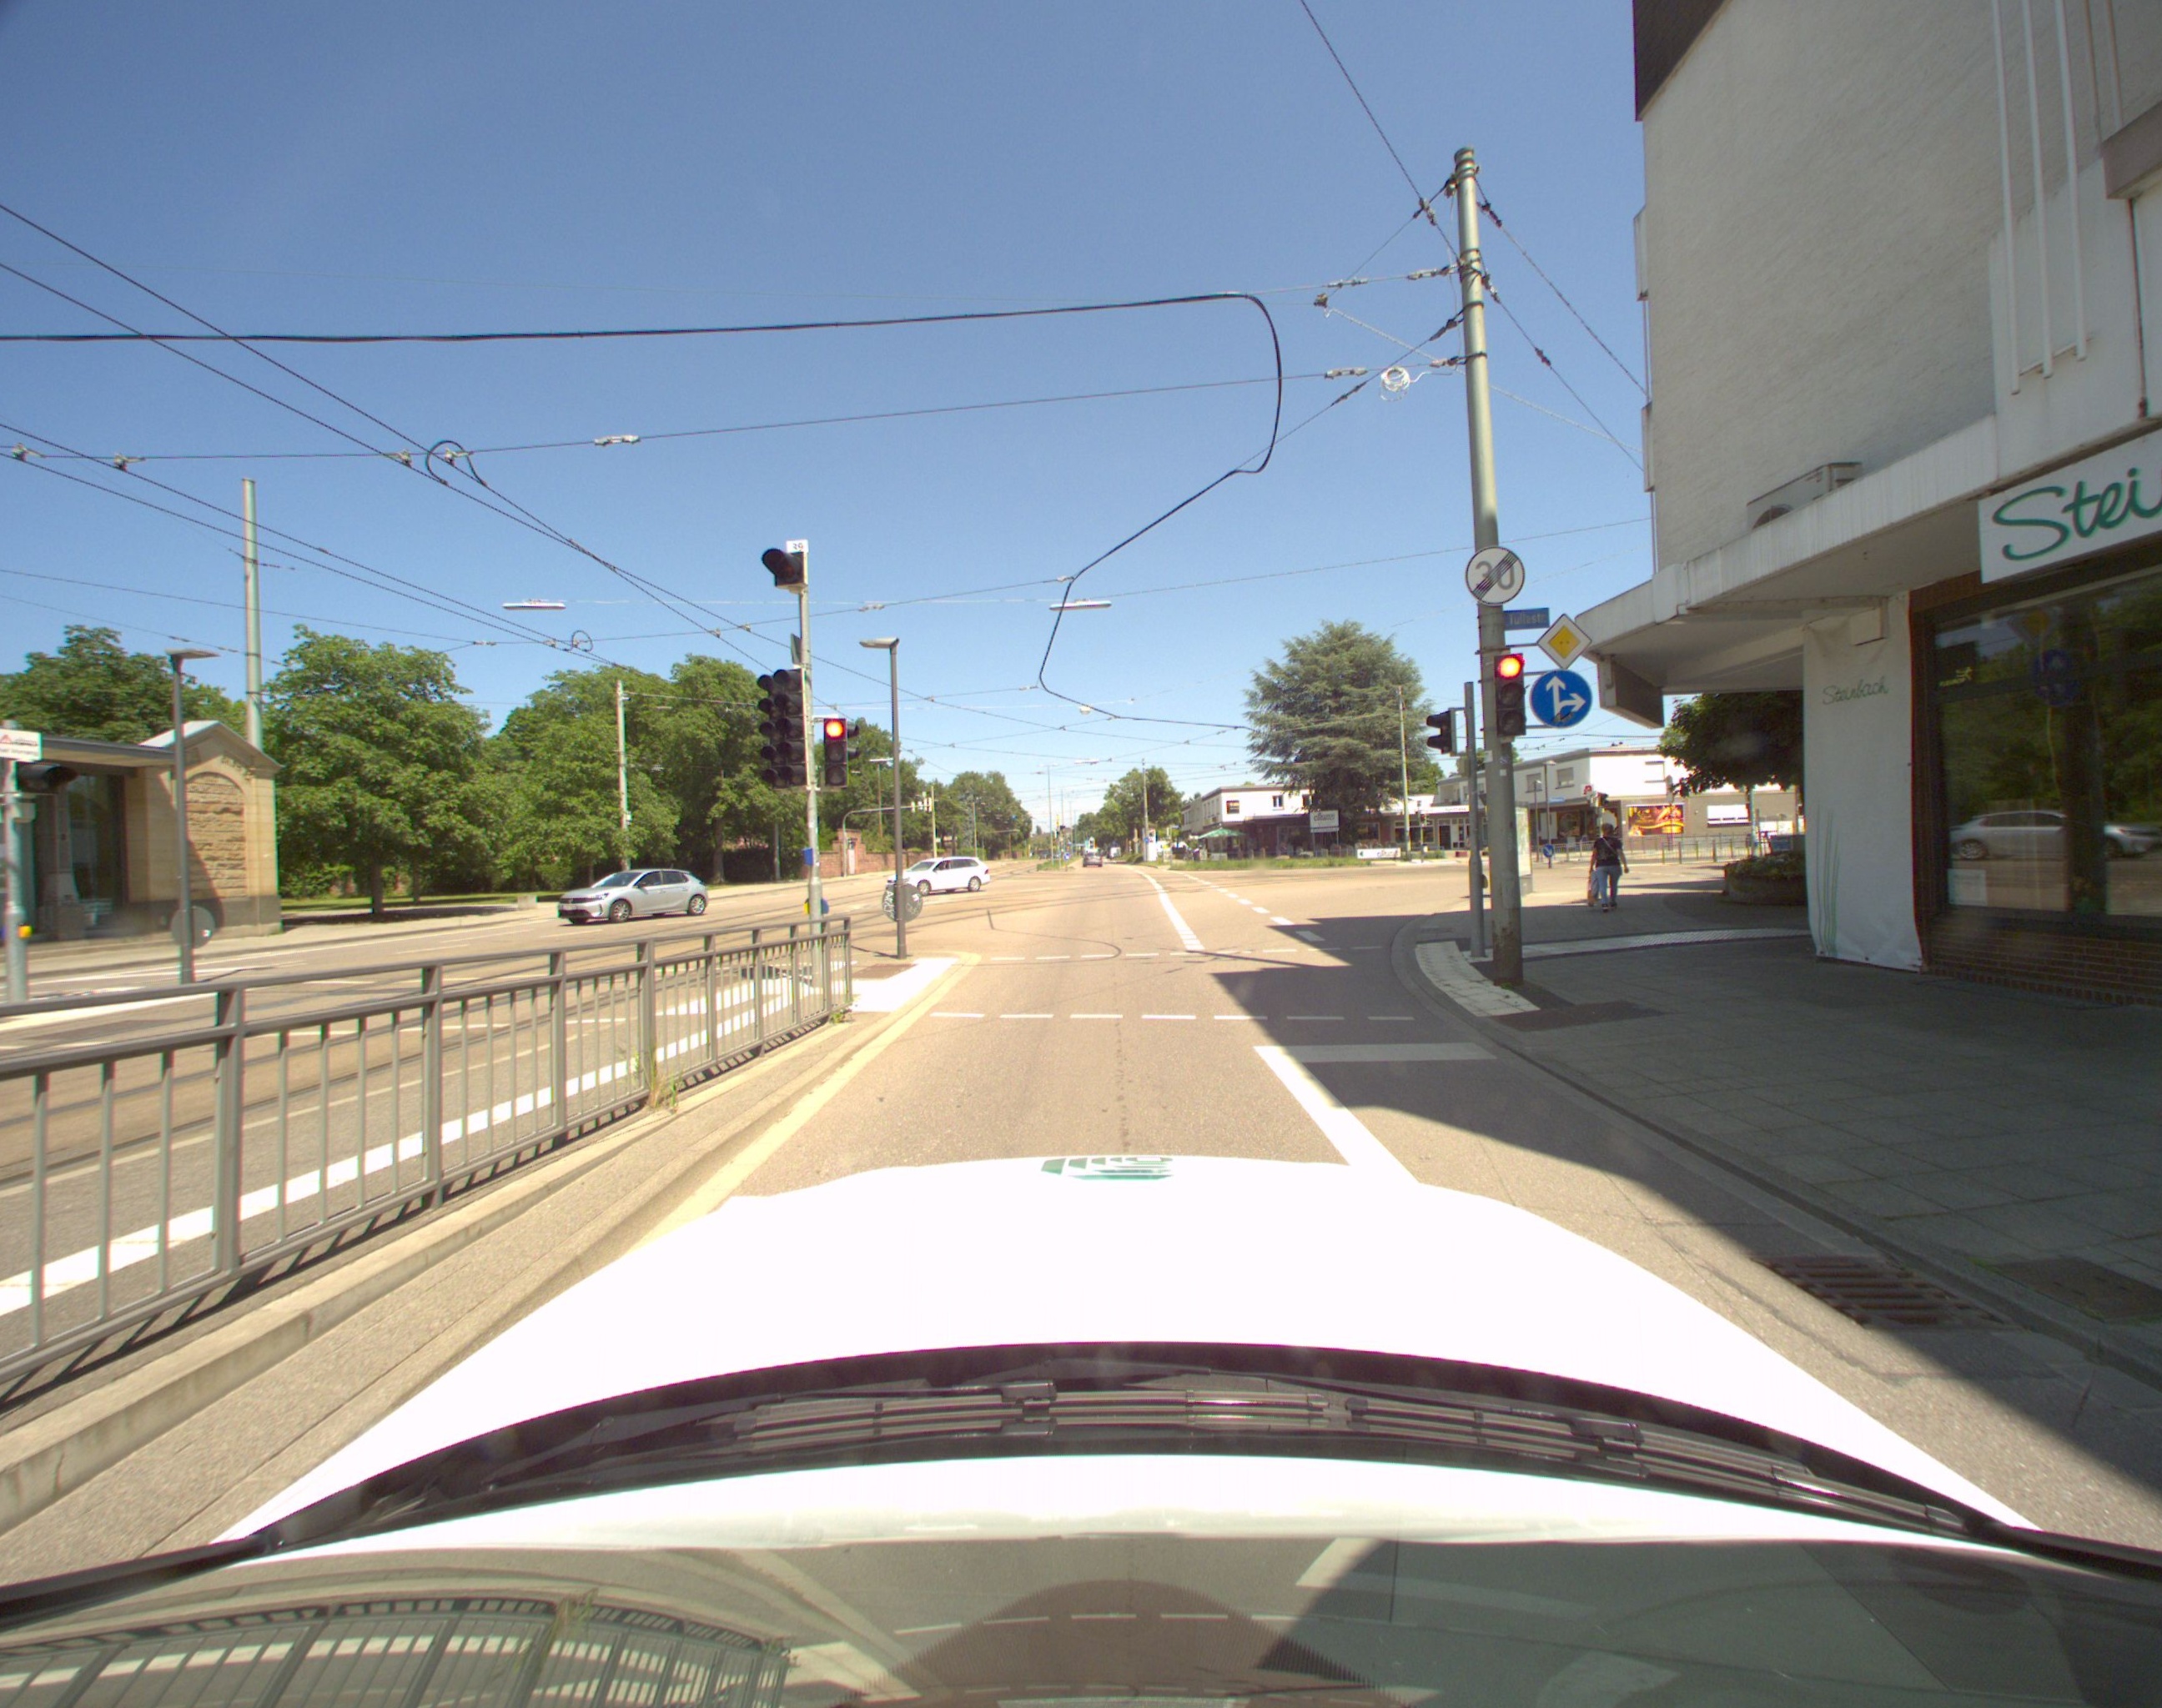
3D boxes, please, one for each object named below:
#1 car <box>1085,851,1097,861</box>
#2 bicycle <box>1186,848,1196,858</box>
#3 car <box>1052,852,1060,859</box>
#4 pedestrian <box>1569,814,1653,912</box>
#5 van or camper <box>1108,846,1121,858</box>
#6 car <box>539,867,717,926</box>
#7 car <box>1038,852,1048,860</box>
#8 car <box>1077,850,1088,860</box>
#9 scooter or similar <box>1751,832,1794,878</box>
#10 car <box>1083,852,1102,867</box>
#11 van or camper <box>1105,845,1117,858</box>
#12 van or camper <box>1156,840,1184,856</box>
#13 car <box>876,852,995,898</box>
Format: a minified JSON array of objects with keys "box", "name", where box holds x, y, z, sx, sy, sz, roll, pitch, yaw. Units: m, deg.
[{"box":[1.571,0.268,123.602,1.664,1.435,3.476,-2,0,2],"name":"car"},{"box":[11.403,-0.099,84.404,1.028,1.014,2.643,-2,0,8],"name":"bicycle"},{"box":[-5.833,0.329,190.860,1.634,1.421,4.171,-2,0,3],"name":"car"},{"box":[9.292,0.156,14.315,0.822,1.583,0.828,-6,-1,7],"name":"pedestrian"},{"box":[5.371,-0.338,130.474,1.915,1.772,4.001,-2,0,2],"name":"van or camper"},{"box":[-12.559,1.145,22.895,1.802,1.362,4.074,-2,0,23],"name":"car"},{"box":[-8.447,0.365,179.555,1.813,1.603,4.522,-2,0,2],"name":"car"},{"box":[0.213,0.186,150.322,1.988,1.860,3.998,-2,0,-1],"name":"car"},{"box":[18.789,0.021,22.121,1.258,1.212,0.391,-2,0,-26],"name":"scooter or similar"},{"box":[1.074,0.497,79.630,1.633,1.351,3.838,-2,0,-3],"name":"car"},{"box":[5.598,-0.495,152.956,1.988,2.464,3.998,-2,0,-2],"name":"van or camper"},{"box":[15.635,-1.077,143.267,4.742,2.671,2.135,-2,0,-1],"name":"van or camper"},{"box":[-5.773,0.820,32.790,1.800,1.489,4.528,-2,2,41],"name":"car"}]
